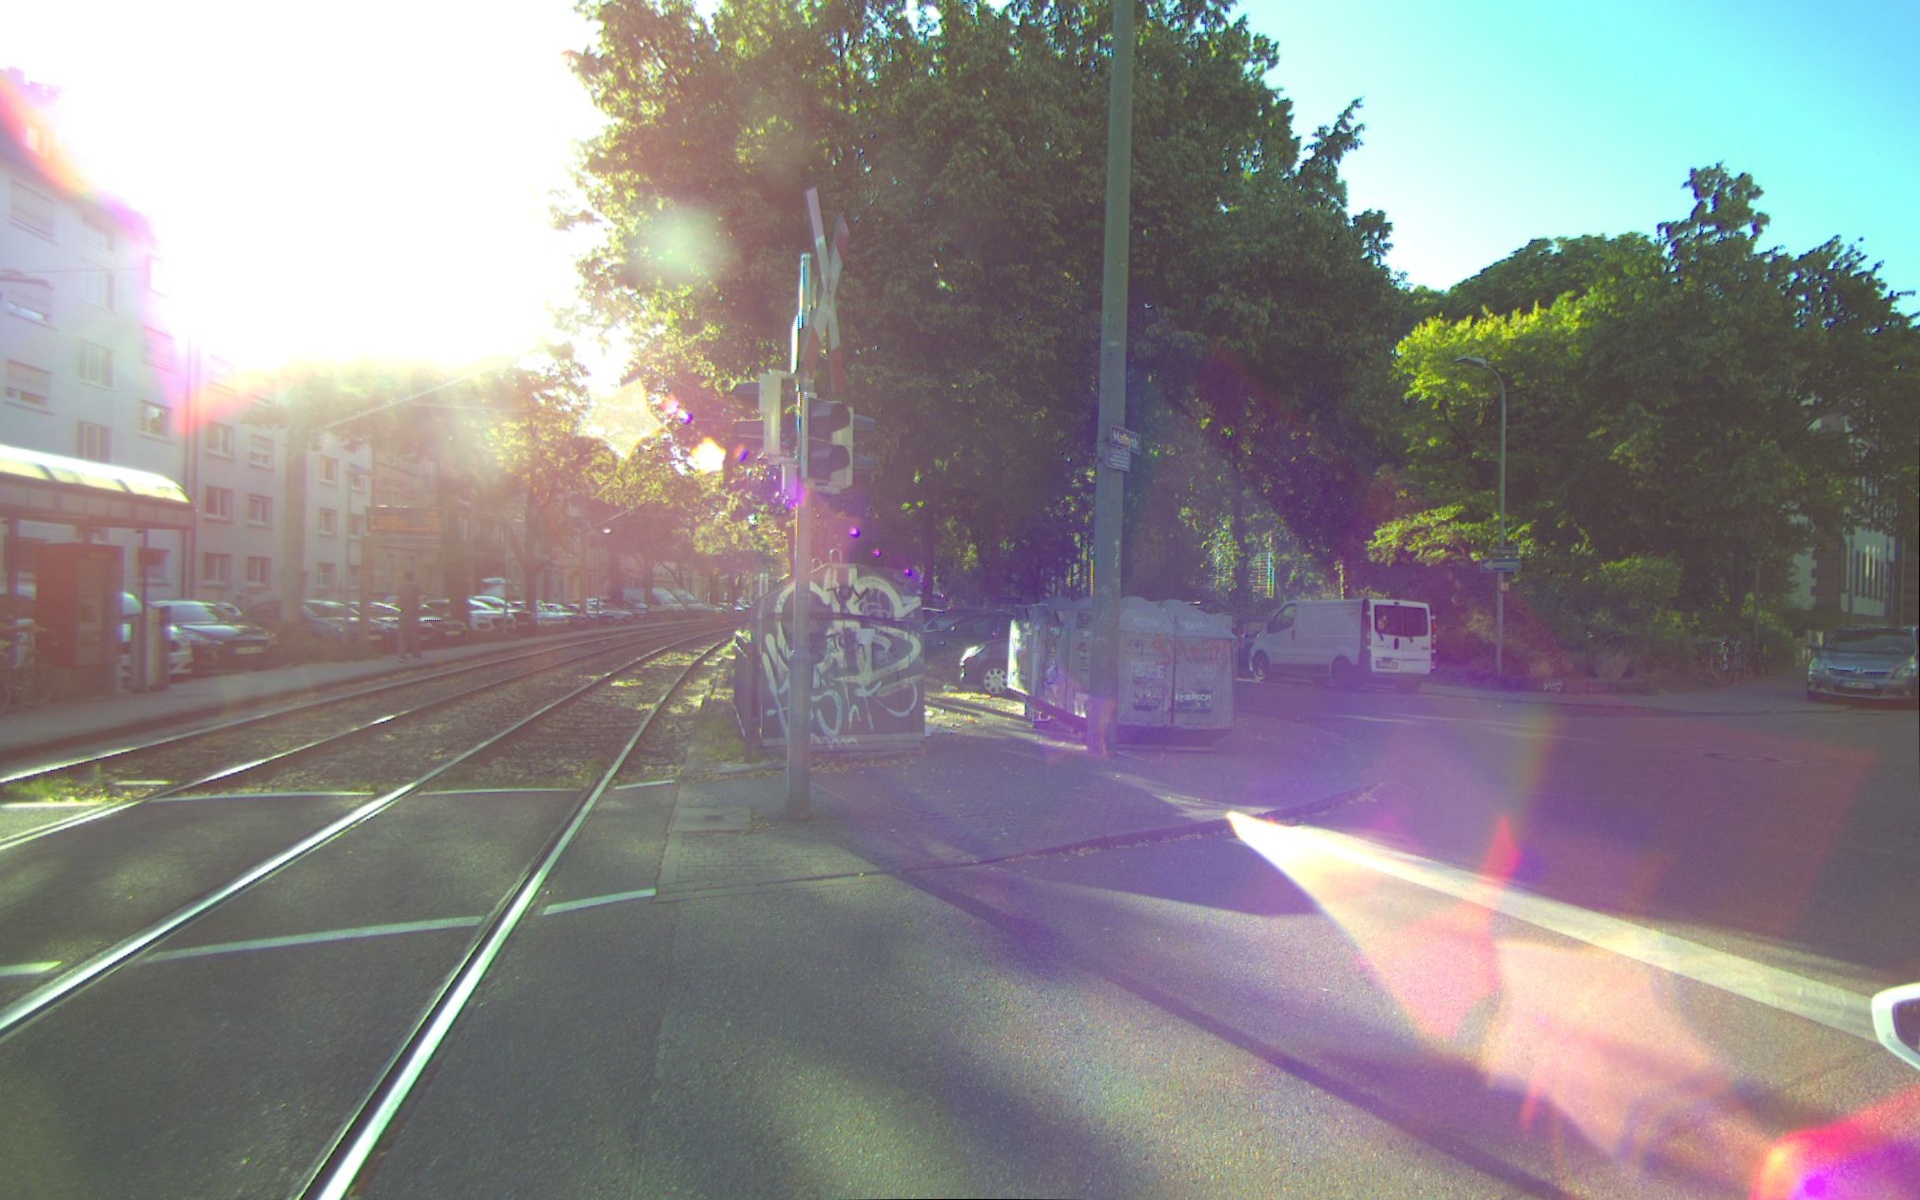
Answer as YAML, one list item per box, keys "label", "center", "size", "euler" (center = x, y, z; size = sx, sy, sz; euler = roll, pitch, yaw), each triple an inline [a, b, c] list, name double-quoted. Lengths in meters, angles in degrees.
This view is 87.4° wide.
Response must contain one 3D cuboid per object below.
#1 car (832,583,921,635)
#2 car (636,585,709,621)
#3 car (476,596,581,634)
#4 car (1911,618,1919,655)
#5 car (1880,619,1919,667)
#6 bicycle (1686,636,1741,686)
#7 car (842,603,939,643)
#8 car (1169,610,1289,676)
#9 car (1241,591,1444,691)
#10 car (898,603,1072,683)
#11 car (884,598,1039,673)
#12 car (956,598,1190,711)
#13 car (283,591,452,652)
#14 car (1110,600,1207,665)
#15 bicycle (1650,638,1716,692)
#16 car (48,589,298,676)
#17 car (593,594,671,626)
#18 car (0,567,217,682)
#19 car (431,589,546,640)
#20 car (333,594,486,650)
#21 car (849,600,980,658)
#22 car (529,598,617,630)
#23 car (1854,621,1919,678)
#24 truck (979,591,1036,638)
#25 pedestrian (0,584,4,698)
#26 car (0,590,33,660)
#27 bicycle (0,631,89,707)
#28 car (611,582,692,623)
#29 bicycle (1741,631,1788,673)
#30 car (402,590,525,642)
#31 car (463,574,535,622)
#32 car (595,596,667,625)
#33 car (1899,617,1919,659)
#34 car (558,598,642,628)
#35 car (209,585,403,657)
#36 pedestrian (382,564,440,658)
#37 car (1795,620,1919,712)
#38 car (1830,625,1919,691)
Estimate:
- label: "car"
  center: [-4.596, 0.509, 55.448]
  size: [4.413, 2.508, 1.819]
  euler: [4, -1, 23]
- label: "car"
  center: [-22.973, 0.243, 80.352]
  size: [5.166, 2.606, 2.273]
  euler: [-3, 0, 20]
- label: "car"
  center: [-19.453, 0.686, 45.311]
  size: [4.159, 1.492, 1.857]
  euler: [-3, 0, 20]
- label: "car"
  center: [41.407, 1.595, 42.125]
  size: [3.902, 1.520, 1.809]
  euler: [1, 3, -42]
- label: "car"
  center: [32.974, 1.487, 34.331]
  size: [3.902, 1.520, 1.809]
  euler: [1, 3, -42]
- label: "bicycle"
  center: [18.134, 1.446, 24.147]
  size: [2.608, 1.116, 0.591]
  euler: [2, 0, -43]
- label: "car"
  center: [-2.973, 1.008, 43.448]
  size: [3.752, 1.440, 1.739]
  euler: [4, -1, 11]
- label: "car"
  center: [7.268, 1.125, 27.484]
  size: [1.550, 1.659, 3.701]
  euler: [1, 0, -14]
- label: "car"
  center: [8.525, 0.861, 22.909]
  size: [1.918, 2.030, 4.644]
  euler: [1, 0, -16]
- label: "car"
  center: [0.581, 0.919, 22.576]
  size: [3.546, 1.466, 1.608]
  euler: [4, 0, 15]
- label: "car"
  center: [0.059, 0.860, 25.471]
  size: [3.546, 1.583, 1.608]
  euler: [4, 0, 16]
- label: "car"
  center: [1.948, 0.861, 17.021]
  size: [3.661, 1.540, 1.608]
  euler: [4, 0, 15]
- label: "car"
  center: [-16.504, 0.599, 27.996]
  size: [4.157, 1.478, 1.608]
  euler: [-3, 0, 17]
- label: "car"
  center: [6.224, 0.974, 31.938]
  size: [1.549, 1.929, 3.891]
  euler: [1, 0, -13]
- label: "bicycle"
  center: [16.115, 1.409, 22.357]
  size: [2.606, 1.116, 0.591]
  euler: [1, 0, -41]
- label: "car"
  center: [-15.160, 0.614, 19.392]
  size: [4.123, 1.456, 1.701]
  euler: [-3, 0, 17]
- label: "car"
  center: [-19.804, 0.597, 60.686]
  size: [4.159, 1.721, 1.857]
  euler: [-3, 0, 20]
- label: "car"
  center: [-14.314, 0.424, 16.365]
  size: [4.160, 1.675, 1.606]
  euler: [-3, 0, 23]
- label: "car"
  center: [-18.234, 0.555, 38.847]
  size: [4.165, 1.772, 1.855]
  euler: [-3, 0, 28]
- label: "car"
  center: [-16.814, 0.670, 30.707]
  size: [4.157, 1.478, 1.608]
  euler: [-3, 0, 17]
- label: "car"
  center: [-1.401, 0.922, 31.776]
  size: [3.752, 1.516, 1.739]
  euler: [4, -1, 11]
- label: "car"
  center: [-20.551, 0.727, 53.334]
  size: [4.159, 1.492, 1.857]
  euler: [-3, 0, 20]
- label: "car"
  center: [28.266, 1.446, 30.011]
  size: [3.902, 1.498, 1.809]
  euler: [1, 3, -42]
- label: "truck"
  center: [2.563, 0.771, 54.921]
  size: [2.330, 2.384, 4.378]
  euler: [1, 0, -8]
- label: "pedestrian"
  center: [-11.218, 0.474, 11.386]
  size: [0.332, 1.319, 0.451]
  euler: [1, 0, -11]
- label: "car"
  center: [-23.814, 0.601, 23.154]
  size: [1.685, 1.695, 3.992]
  euler: [0, 0, -10]
- label: "bicycle"
  center: [-10.845, 0.777, 11.548]
  size: [0.442, 0.794, 1.640]
  euler: [1, 0, -9]
- label: "car"
  center: [-22.012, 0.178, 71.700]
  size: [5.166, 2.606, 2.273]
  euler: [-3, 0, 20]
- label: "bicycle"
  center: [22.879, 1.462, 28.546]
  size: [2.606, 1.116, 0.591]
  euler: [2, 0, -41]
- label: "car"
  center: [-17.956, 0.577, 36.298]
  size: [4.165, 1.673, 1.855]
  euler: [-3, 0, 28]
- label: "car"
  center: [-29.333, -0.128, 64.137]
  size: [2.512, 2.926, 5.476]
  euler: [0, 0, -5]
- label: "car"
  center: [-21.470, 0.680, 65.537]
  size: [4.159, 1.721, 1.857]
  euler: [-3, 0, 20]
- label: "car"
  center: [37.419, 1.492, 38.401]
  size: [3.902, 1.520, 1.809]
  euler: [1, 3, -42]
- label: "car"
  center: [-20.295, 0.722, 56.614]
  size: [4.159, 1.492, 1.857]
  euler: [-3, 0, 20]
- label: "car"
  center: [-15.937, 0.512, 24.501]
  size: [4.157, 1.528, 1.608]
  euler: [-3, 0, 17]
- label: "pedestrian"
  center: [-11.605, 0.231, 21.257]
  size: [0.835, 1.936, 0.836]
  euler: [1, 0, -10]
- label: "car"
  center: [19.560, 1.328, 21.575]
  size: [4.259, 1.636, 1.809]
  euler: [1, 3, -42]
- label: "car"
  center: [24.253, 1.463, 26.202]
  size: [3.902, 1.466, 1.809]
  euler: [1, 3, -42]
